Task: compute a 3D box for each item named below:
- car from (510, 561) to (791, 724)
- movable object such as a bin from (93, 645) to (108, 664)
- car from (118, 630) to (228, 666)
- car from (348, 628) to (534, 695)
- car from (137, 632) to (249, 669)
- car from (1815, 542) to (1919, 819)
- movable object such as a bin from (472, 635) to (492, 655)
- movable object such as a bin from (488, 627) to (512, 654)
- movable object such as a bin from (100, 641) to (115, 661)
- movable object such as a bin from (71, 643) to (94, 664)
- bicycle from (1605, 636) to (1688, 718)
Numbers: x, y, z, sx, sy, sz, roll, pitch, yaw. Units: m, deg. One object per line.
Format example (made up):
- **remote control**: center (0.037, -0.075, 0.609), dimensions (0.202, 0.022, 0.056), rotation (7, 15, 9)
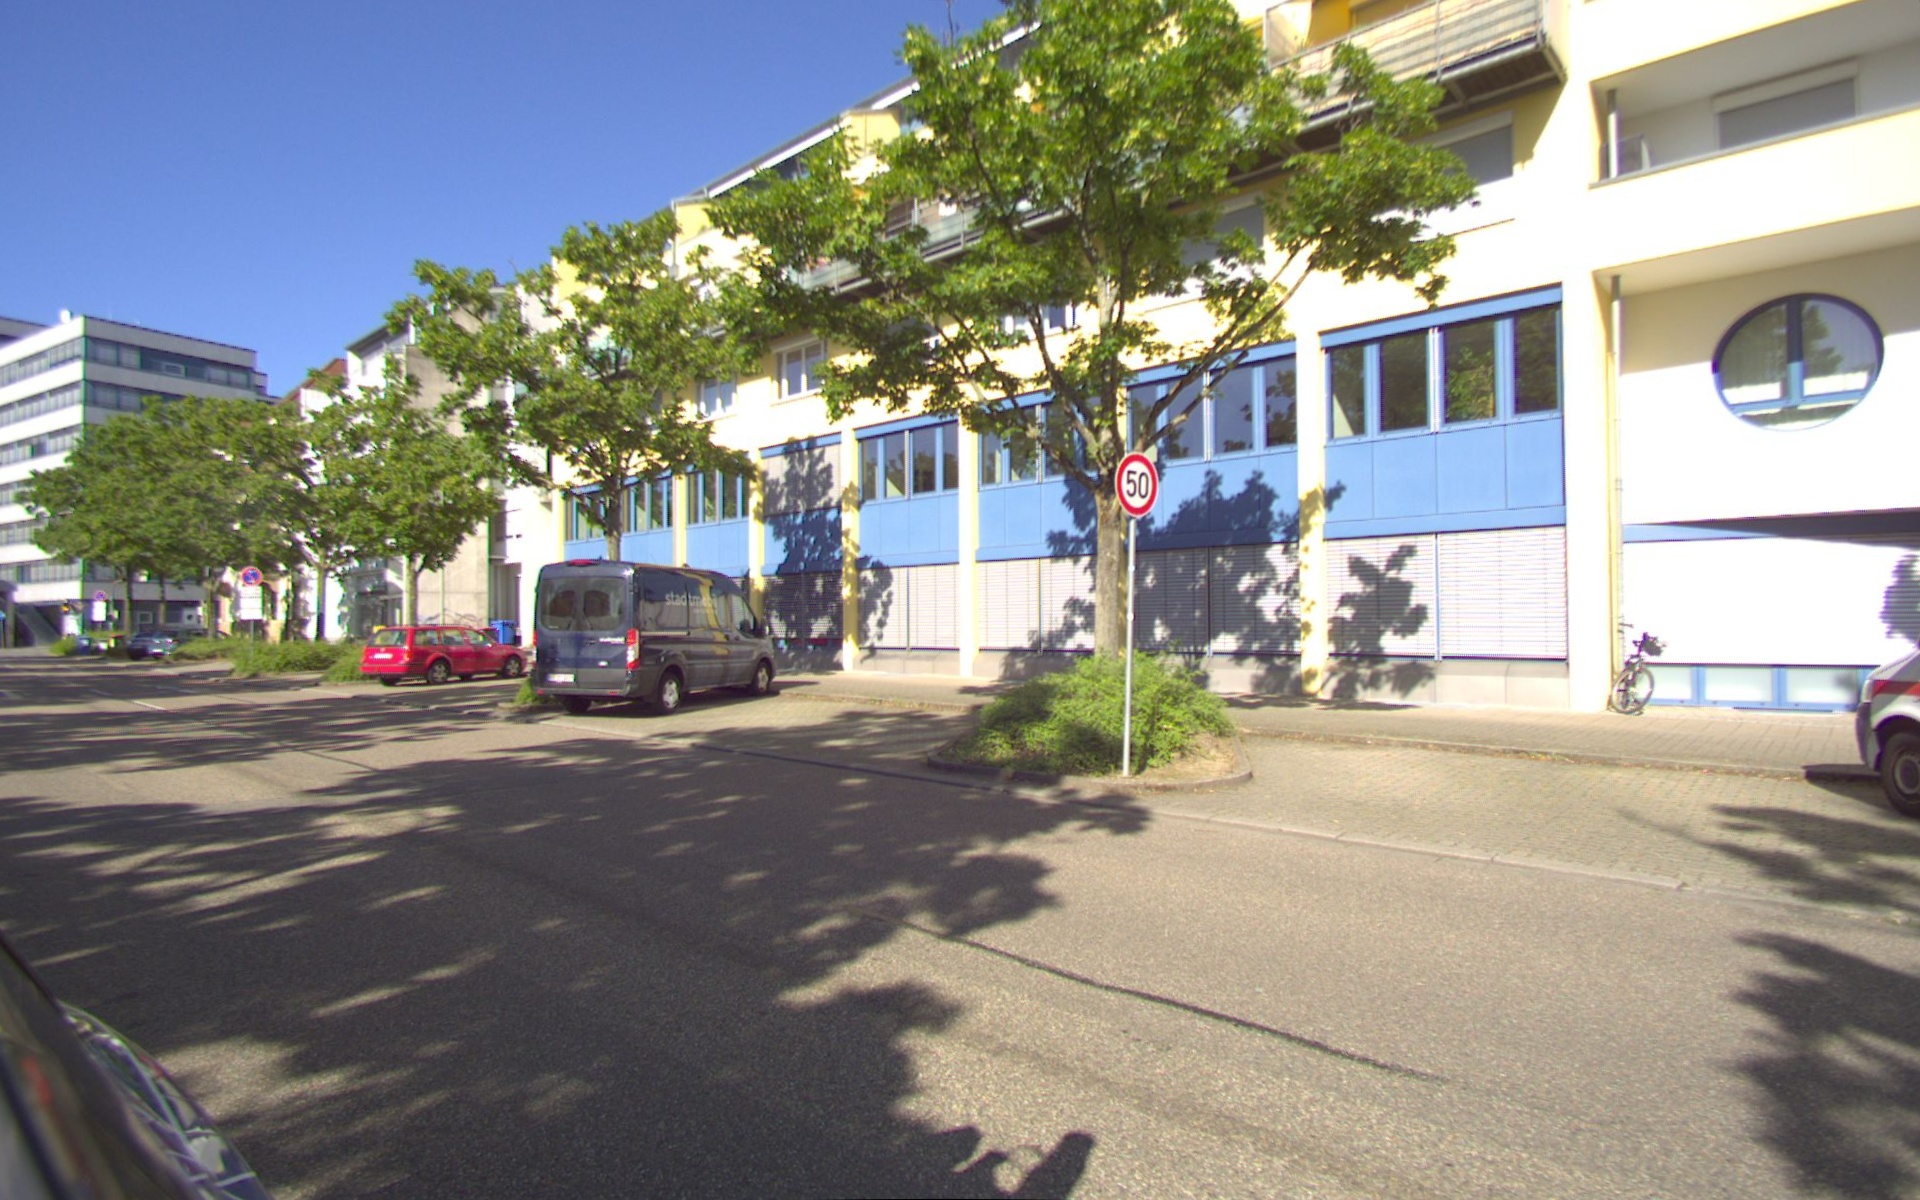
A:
- **car**: center (-5.228, 0.683, 18.130), dimensions (2.167, 2.455, 5.476), rotation (-2, -1, 16)
- **movable object such as a bin**: center (-46.313, 2.927, 54.532), dimensions (0.469, 0.967, 0.544), rotation (-1, 0, -23)
- **car**: center (-37.037, 2.233, 47.734), dimensions (1.790, 1.475, 3.990), rotation (-1, 0, 8)
- **car**: center (-13.034, 1.499, 25.713), dimensions (1.755, 1.487, 4.209), rotation (-2, -1, 18)
- **car**: center (-34.689, 2.244, 45.903), dimensions (1.790, 1.475, 3.990), rotation (-1, 0, 8)
- **car**: center (7.780, 0.531, 5.766), dimensions (1.975, 2.000, 4.763), rotation (-2, -1, 5)
- **movable object such as a bin**: center (-22.870, 2.150, 48.407), dimensions (0.689, 0.980, 0.614), rotation (-2, -2, 38)
- **movable object such as a bin**: center (-22.326, 1.953, 49.124), dimensions (1.119, 1.289, 0.614), rotation (-2, -2, 38)
- **movable object such as a bin**: center (-46.593, 2.802, 55.292), dimensions (0.469, 1.048, 0.544), rotation (-1, 0, -23)
- **movable object such as a bin**: center (-47.037, 2.878, 54.254), dimensions (0.664, 1.082, 0.805), rotation (1, -2, -23)
- **bicycle**: center (9.882, 1.076, 14.544), dimensions (0.702, 1.106, 1.778), rotation (-2, -4, 43)
